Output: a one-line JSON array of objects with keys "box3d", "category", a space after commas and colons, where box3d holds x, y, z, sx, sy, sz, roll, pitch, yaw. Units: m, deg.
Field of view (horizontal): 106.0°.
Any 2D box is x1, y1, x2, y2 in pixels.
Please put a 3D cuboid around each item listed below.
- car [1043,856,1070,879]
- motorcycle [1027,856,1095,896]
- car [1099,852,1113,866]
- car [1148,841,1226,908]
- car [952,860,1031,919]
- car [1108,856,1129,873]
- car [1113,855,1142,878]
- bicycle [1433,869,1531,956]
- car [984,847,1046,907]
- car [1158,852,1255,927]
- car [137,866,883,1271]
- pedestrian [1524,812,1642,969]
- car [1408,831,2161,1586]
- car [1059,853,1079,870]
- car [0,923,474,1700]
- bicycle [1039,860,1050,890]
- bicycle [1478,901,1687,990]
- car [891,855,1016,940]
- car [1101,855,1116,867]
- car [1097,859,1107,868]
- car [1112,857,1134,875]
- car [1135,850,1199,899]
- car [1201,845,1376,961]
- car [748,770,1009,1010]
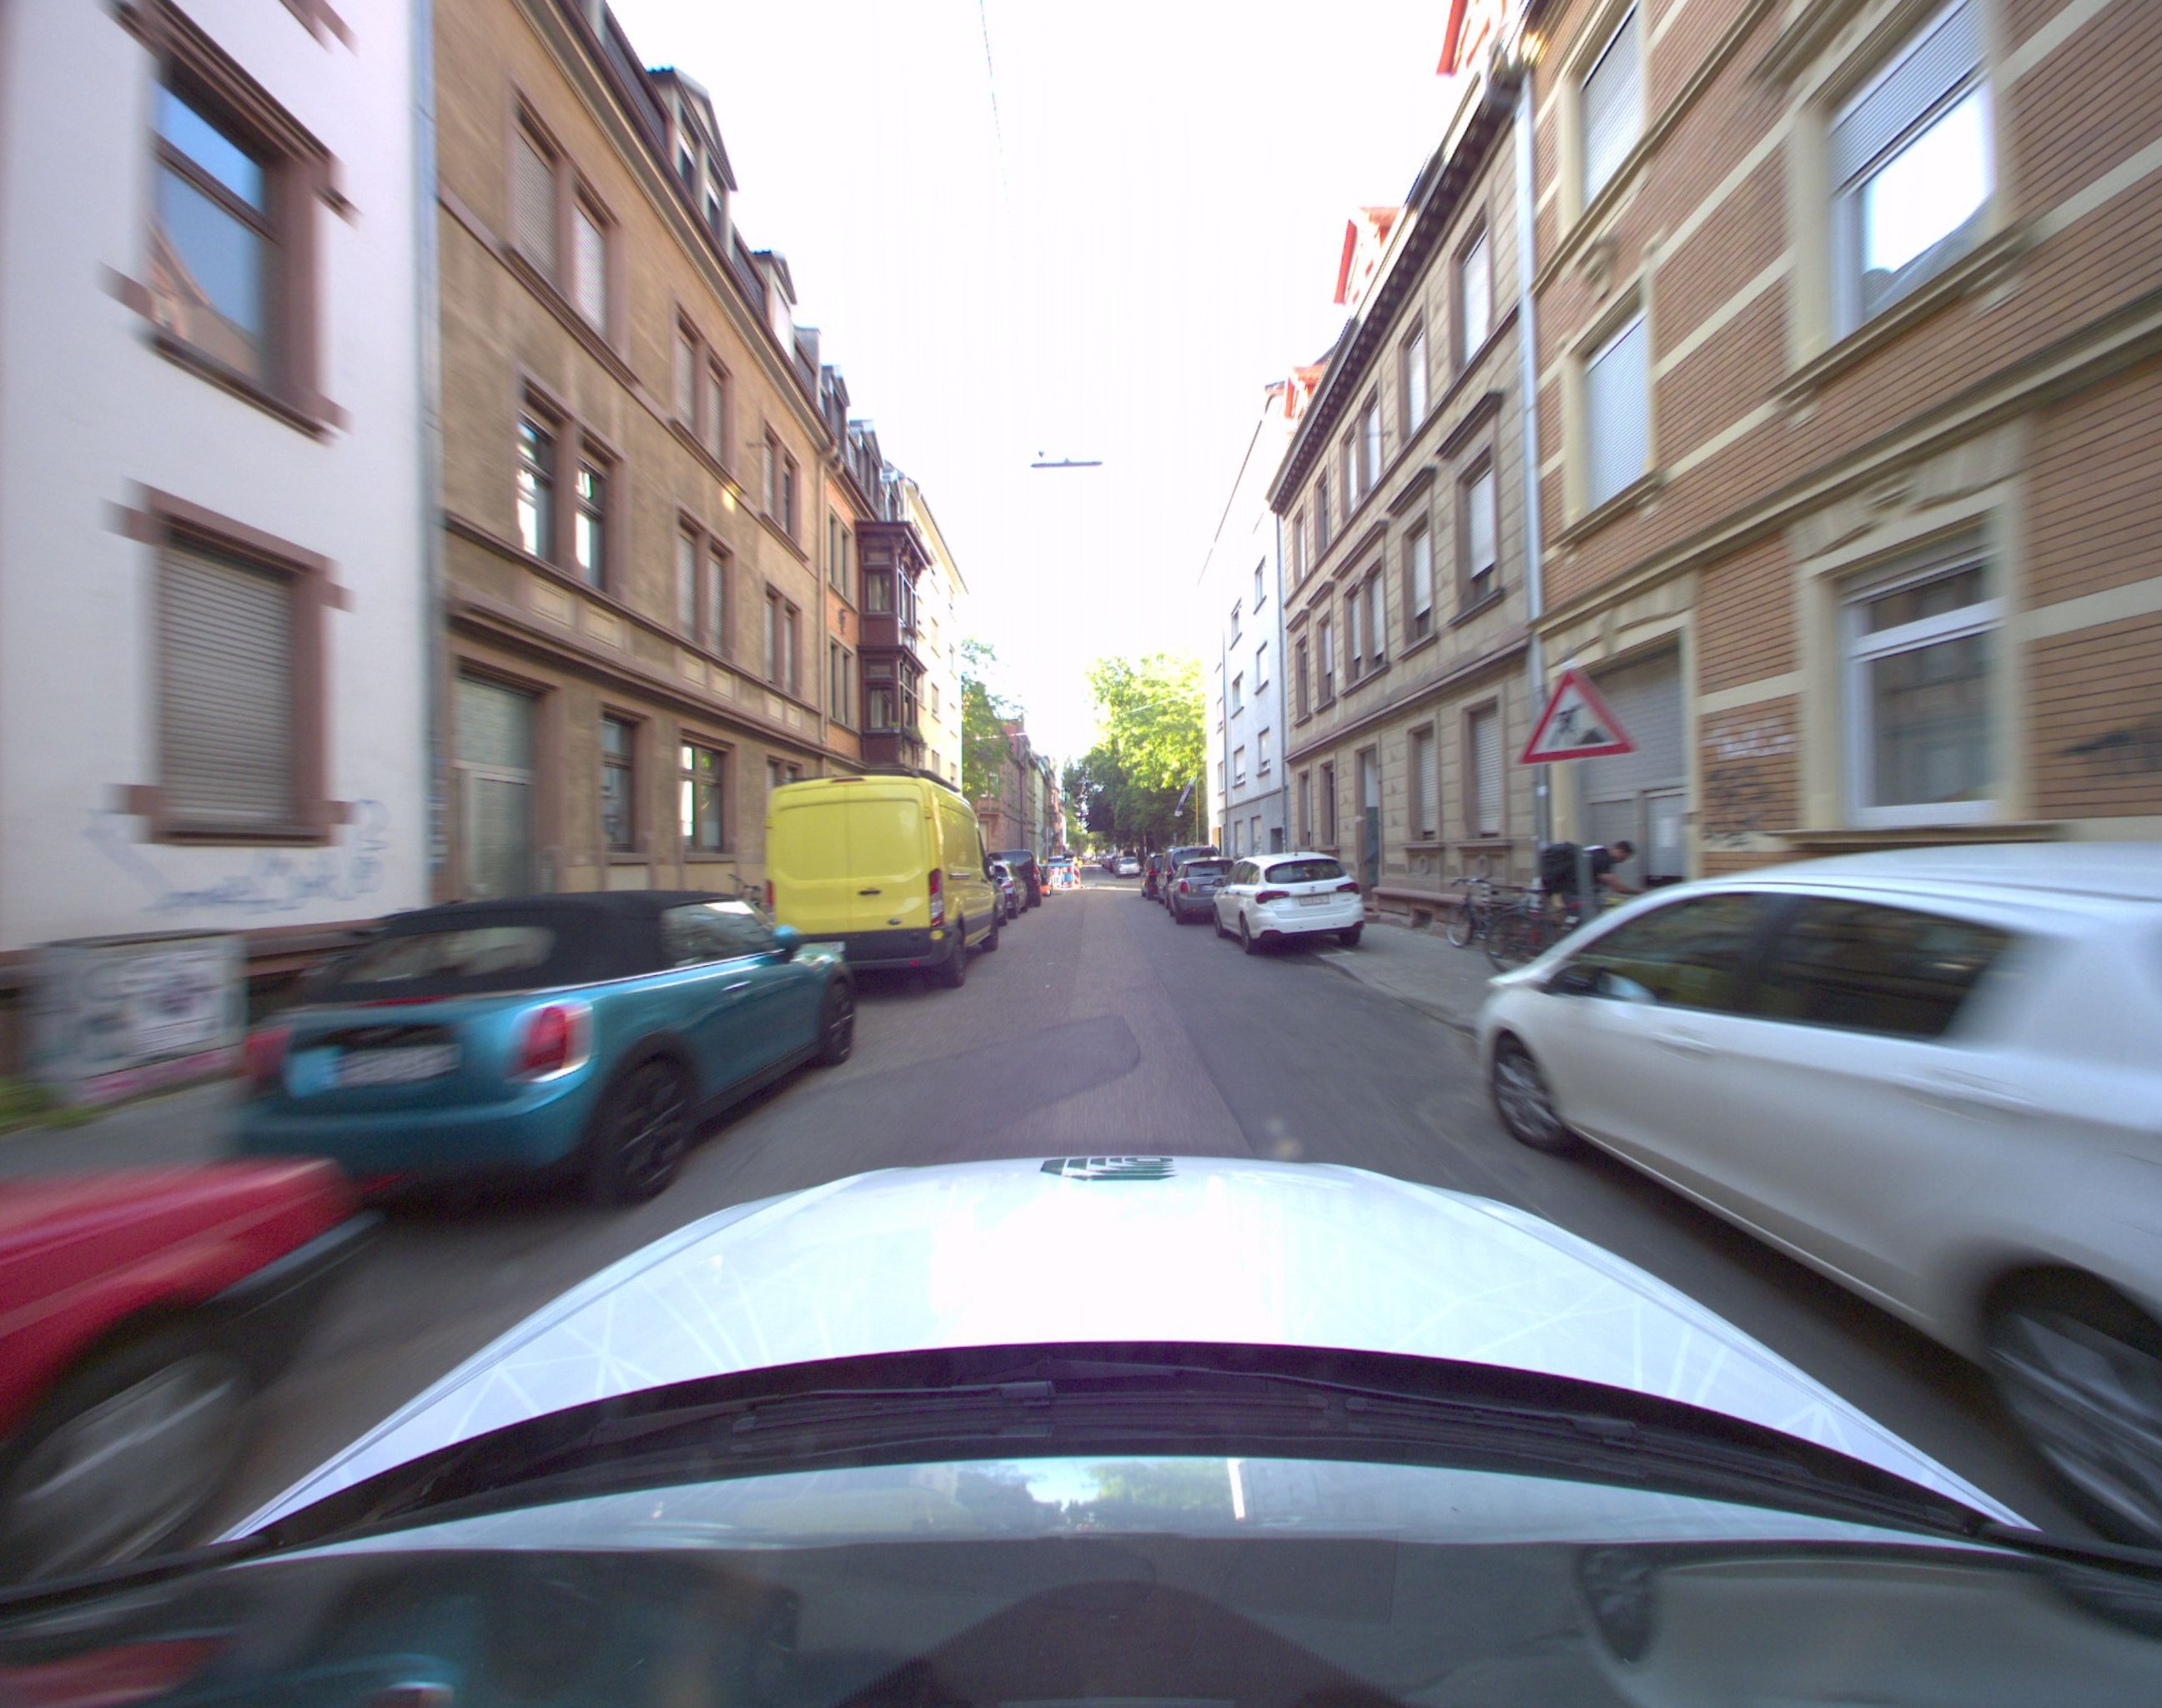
[{"box3d": [-1.938, 1.081, 65.497, 1.875, 1.707, 4.001, -2, -1, 1], "category": "car"}, {"box3d": [-0.781, 0.851, 32.221, 2.525, 1.482, 0.896, 0, 0, -27], "category": "motorcycle"}, {"box3d": [4.012, 0.842, 130.893, 2.154, 2.255, 4.524, -1, -1, 0], "category": "car"}, {"box3d": [3.191, 0.567, 25.292, 1.748, 1.786, 4.723, -4, 0, 0], "category": "car"}, {"box3d": [-2.341, 0.886, 22.107, 1.671, 1.449, 3.645, 0, 0, 1], "category": "car"}, {"box3d": [3.651, 1.034, 80.676, 1.888, 1.625, 3.999, -1, -1, 0], "category": "car"}, {"box3d": [3.371, 0.884, 59.480, 1.719, 1.522, 3.997, -1, 0, -2], "category": "car"}, {"box3d": [5.492, 0.763, 11.244, 0.515, 1.066, 1.567, -3, 0, 0], "category": "bicycle"}, {"box3d": [-2.076, 0.695, 26.654, 1.814, 1.766, 4.332, -1, 0, -2], "category": "car"}, {"box3d": [2.930, 0.765, 19.854, 1.747, 1.452, 4.290, -5, 0, 2], "category": "car"}, {"box3d": [-2.768, 0.891, 5.188, 1.711, 1.412, 3.901, -6, 0, 4], "category": "car"}, {"box3d": [5.542, 0.387, 9.009, 0.659, 1.630, 0.870, -2, -2, -41], "category": "pedestrian"}, {"box3d": [3.064, 0.730, 3.325, 1.715, 1.480, 4.082, -5, 0, 0], "category": "car"}, {"box3d": [-1.452, 0.952, 103.563, 2.300, 2.114, 5.171, -1, -1, 2], "category": "car"}, {"box3d": [-2.821, 0.935, 0.833, 1.613, 1.326, 3.611, -4, 0, 0], "category": "car"}, {"box3d": [-1.560, 0.891, 34.982, 0.398, 1.227, 1.505, -1, 1, 0], "category": "bicycle"}, {"box3d": [5.379, 0.942, 8.837, 0.600, 0.816, 1.805, -3, 0, -41], "category": "bicycle"}, {"box3d": [-2.568, 0.824, 17.392, 1.987, 1.552, 3.999, -1, 0, 0], "category": "car"}, {"box3d": [3.798, 0.943, 112.297, 1.824, 1.703, 3.999, -1, 0, 0], "category": "car"}, {"box3d": [4.260, 1.976, 168.813, 1.987, 1.728, 4.000, -1, 0, 0], "category": "car"}, {"box3d": [3.911, 1.089, 75.843, 1.835, 1.596, 3.999, -1, 0, 0], "category": "car"}, {"box3d": [3.088, 0.712, 29.961, 1.894, 1.640, 4.390, -1, -1, 0], "category": "car"}, {"box3d": [3.320, 0.701, 13.965, 1.748, 1.518, 4.442, -5, 0, 0], "category": "car"}, {"box3d": [-2.479, 0.400, 11.863, 2.168, 2.508, 5.877, -3, 0, 0], "category": "car"}]
